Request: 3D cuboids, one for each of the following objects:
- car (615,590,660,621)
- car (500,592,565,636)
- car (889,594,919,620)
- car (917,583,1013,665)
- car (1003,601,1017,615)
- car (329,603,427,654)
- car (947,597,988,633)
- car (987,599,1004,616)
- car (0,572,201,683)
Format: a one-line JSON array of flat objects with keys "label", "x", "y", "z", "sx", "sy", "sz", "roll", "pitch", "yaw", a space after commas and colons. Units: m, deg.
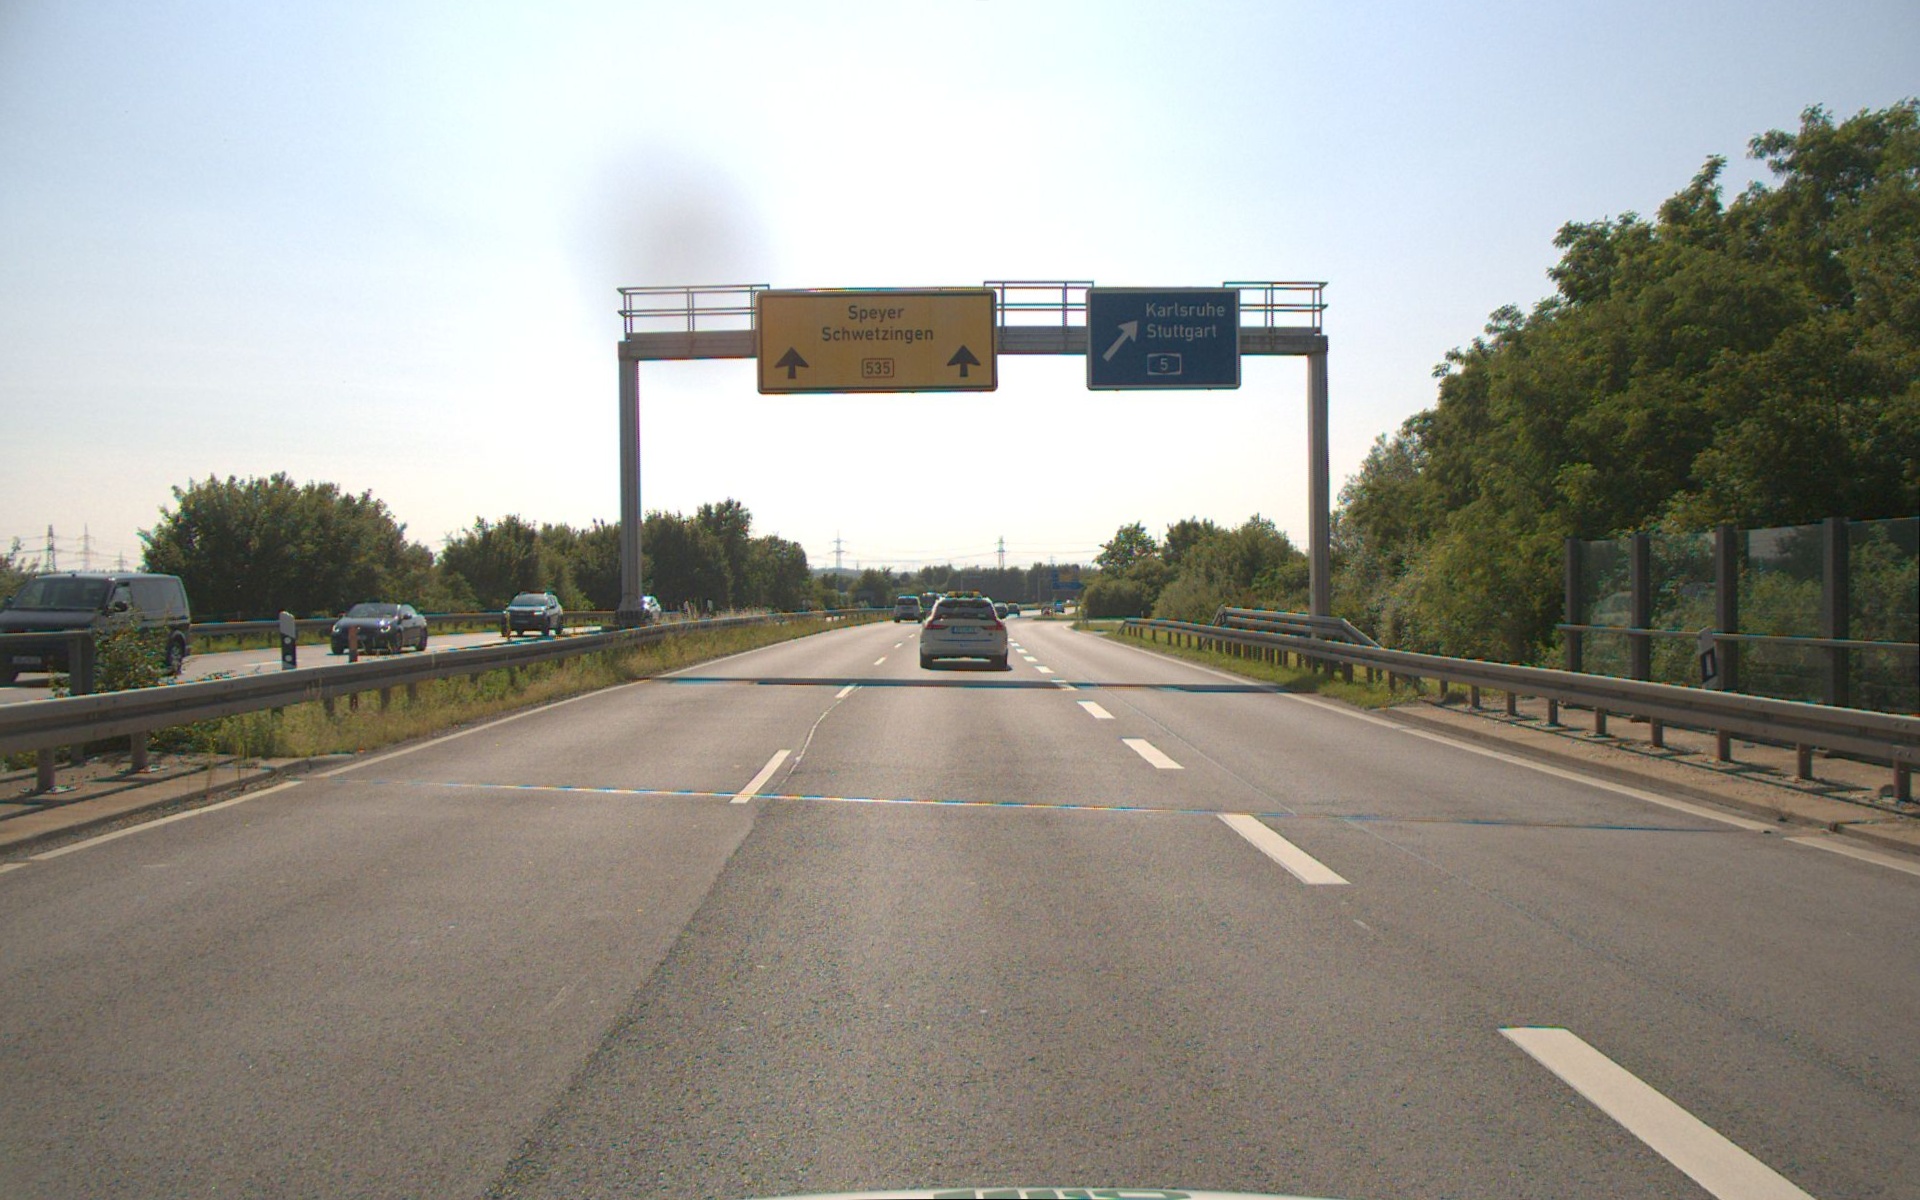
[{"label": "car", "x": -17.807, "y": 0.308, "z": 91.561, "sx": 1.864, "sy": 1.648, "sz": 4.626, "roll": 1, "pitch": 0, "yaw": -4}, {"label": "car", "x": -16.823, "y": 0.529, "z": 65.236, "sx": 1.698, "sy": 1.645, "sz": 4.001, "roll": 0, "pitch": 1, "yaw": -3}, {"label": "car", "x": -3.357, "y": 0.395, "z": 99.197, "sx": 1.757, "sy": 1.529, "sz": 4.041, "roll": 1, "pitch": 0, "yaw": -2}, {"label": "car", "x": 0.063, "y": 0.473, "z": 35.714, "sx": 1.918, "sy": 1.629, "sz": 4.106, "roll": 1, "pitch": 1, "yaw": -1}, {"label": "car", "x": 6.458, "y": 1.068, "z": 215.486, "sx": 1.803, "sy": 1.728, "sz": 4.001, "roll": 1, "pitch": 0, "yaw": 1}, {"label": "car", "x": -16.051, "y": 0.760, "z": 45.775, "sx": 1.534, "sy": 1.292, "sz": 3.714, "roll": 0, "pitch": 1, "yaw": -3}, {"label": "car", "x": 0.311, "y": 0.656, "z": 74.697, "sx": 1.757, "sy": 1.570, "sz": 3.671, "roll": 1, "pitch": 0, "yaw": -1}, {"label": "car", "x": 4.061, "y": 0.853, "z": 189.167, "sx": 1.803, "sy": 1.834, "sz": 4.000, "roll": 1, "pitch": 0, "yaw": 0}, {"label": "car", "x": -16.166, "y": 0.464, "z": 30.996, "sx": 1.953, "sy": 1.939, "sz": 4.416, "roll": 0, "pitch": 0, "yaw": -2}]
